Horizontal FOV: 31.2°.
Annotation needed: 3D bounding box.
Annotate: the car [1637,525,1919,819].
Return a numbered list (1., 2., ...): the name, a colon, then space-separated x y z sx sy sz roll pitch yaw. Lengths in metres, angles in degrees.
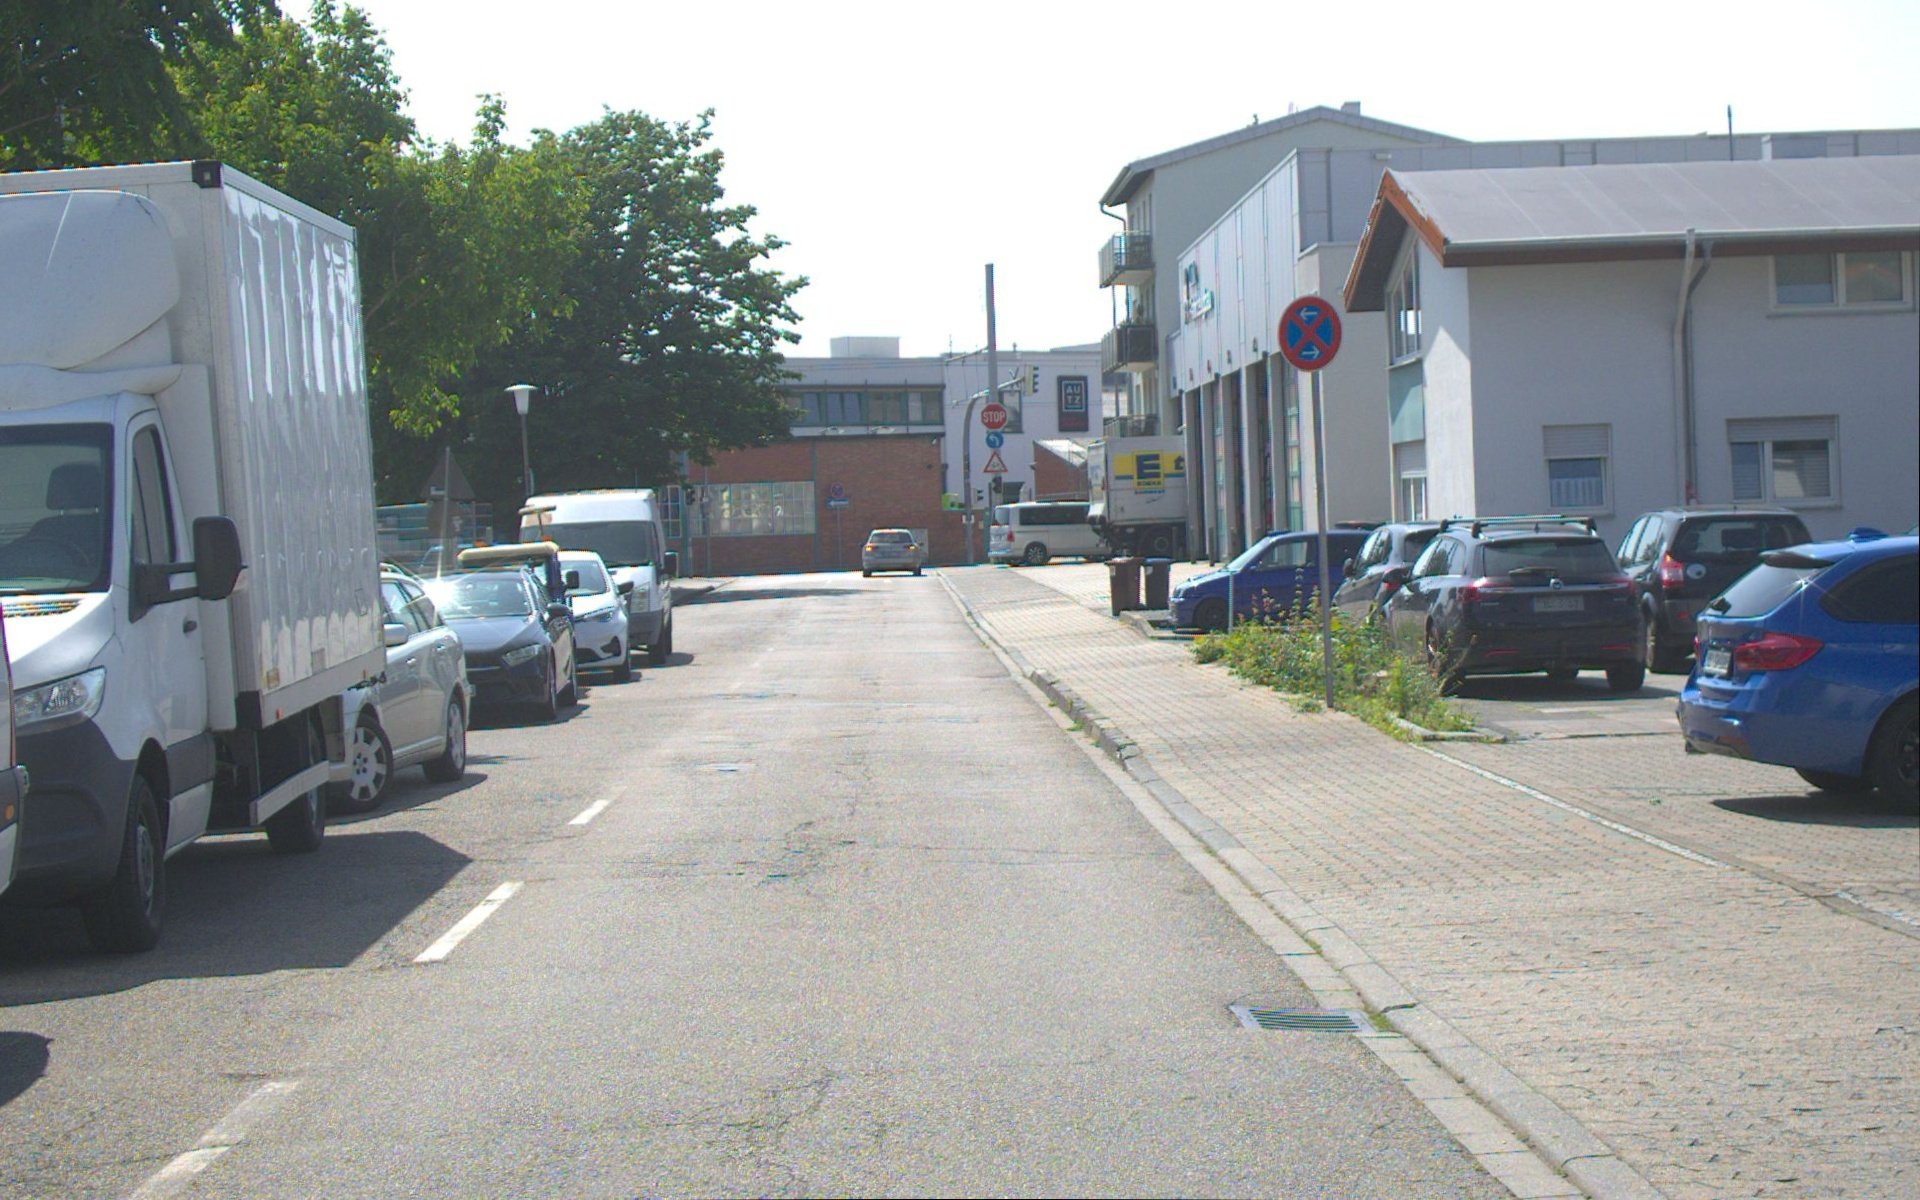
1. car: 5.966 0.299 18.140 4.352 1.436 1.892 -2 1 -2

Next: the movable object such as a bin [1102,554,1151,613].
1. movable object such as a bin: 2.723 -0.272 56.329 0.568 0.943 0.556 -1 1 33

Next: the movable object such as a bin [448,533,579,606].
1. movable object such as a bin: -10.064 -0.696 77.708 2.626 1.505 2.729 -2 1 -1

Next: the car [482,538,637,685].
1. car: -4.830 0.105 41.724 1.704 1.618 3.974 -3 1 -6

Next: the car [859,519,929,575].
1. car: -2.086 -1.649 107.517 1.890 1.679 3.958 -1 0 -5

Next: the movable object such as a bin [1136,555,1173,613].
1. movable object such as a bin: 3.209 -0.265 56.746 0.514 0.943 0.487 -2 1 10

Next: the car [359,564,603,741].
1. car: -4.419 0.438 32.239 1.704 1.458 4.114 -3 1 -1

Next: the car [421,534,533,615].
1. car: -9.680 -0.534 69.110 1.814 1.525 3.676 -2 1 -3

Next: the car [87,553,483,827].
1. car: -4.201 0.491 22.038 1.741 1.516 4.310 -2 1 -1

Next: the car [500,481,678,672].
1. car: -4.991 -0.283 46.891 2.005 2.358 5.230 -3 0 -3

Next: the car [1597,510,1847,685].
1. car: 7.531 -0.067 34.299 1.760 1.589 3.619 2 1 2

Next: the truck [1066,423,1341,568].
1. truck: 7.049 -3.035 99.954 7.357 3.633 2.768 -4 2 -7

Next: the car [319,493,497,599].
1. car: -13.572 -1.335 84.670 4.085 2.504 1.777 -1 1 -3

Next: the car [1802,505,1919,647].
1. car: 10.894 -0.298 37.213 1.759 1.491 4.151 -3 1 -12

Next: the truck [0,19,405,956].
1. truck: -4.422 -0.382 15.887 2.685 3.355 7.130 -2 0 -2

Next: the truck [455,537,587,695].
1. truck: -4.837 0.139 38.114 1.138 1.616 3.142 -3 1 -3

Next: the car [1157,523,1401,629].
1. car: 4.494 -0.349 48.748 3.253 1.394 1.673 -2 1 0

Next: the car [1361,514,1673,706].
1. car: 4.962 0.036 31.324 1.858 1.562 4.952 -2 1 -2

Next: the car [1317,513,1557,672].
1. car: 5.041 -0.120 36.872 1.811 1.553 4.293 -2 1 -2

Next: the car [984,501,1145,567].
1. car: 3.289 -2.076 108.332 4.653 1.951 1.917 -2 1 -20

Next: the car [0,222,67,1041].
1. car: -4.119 0.139 8.001 2.168 2.587 6.920 -3 0 0
